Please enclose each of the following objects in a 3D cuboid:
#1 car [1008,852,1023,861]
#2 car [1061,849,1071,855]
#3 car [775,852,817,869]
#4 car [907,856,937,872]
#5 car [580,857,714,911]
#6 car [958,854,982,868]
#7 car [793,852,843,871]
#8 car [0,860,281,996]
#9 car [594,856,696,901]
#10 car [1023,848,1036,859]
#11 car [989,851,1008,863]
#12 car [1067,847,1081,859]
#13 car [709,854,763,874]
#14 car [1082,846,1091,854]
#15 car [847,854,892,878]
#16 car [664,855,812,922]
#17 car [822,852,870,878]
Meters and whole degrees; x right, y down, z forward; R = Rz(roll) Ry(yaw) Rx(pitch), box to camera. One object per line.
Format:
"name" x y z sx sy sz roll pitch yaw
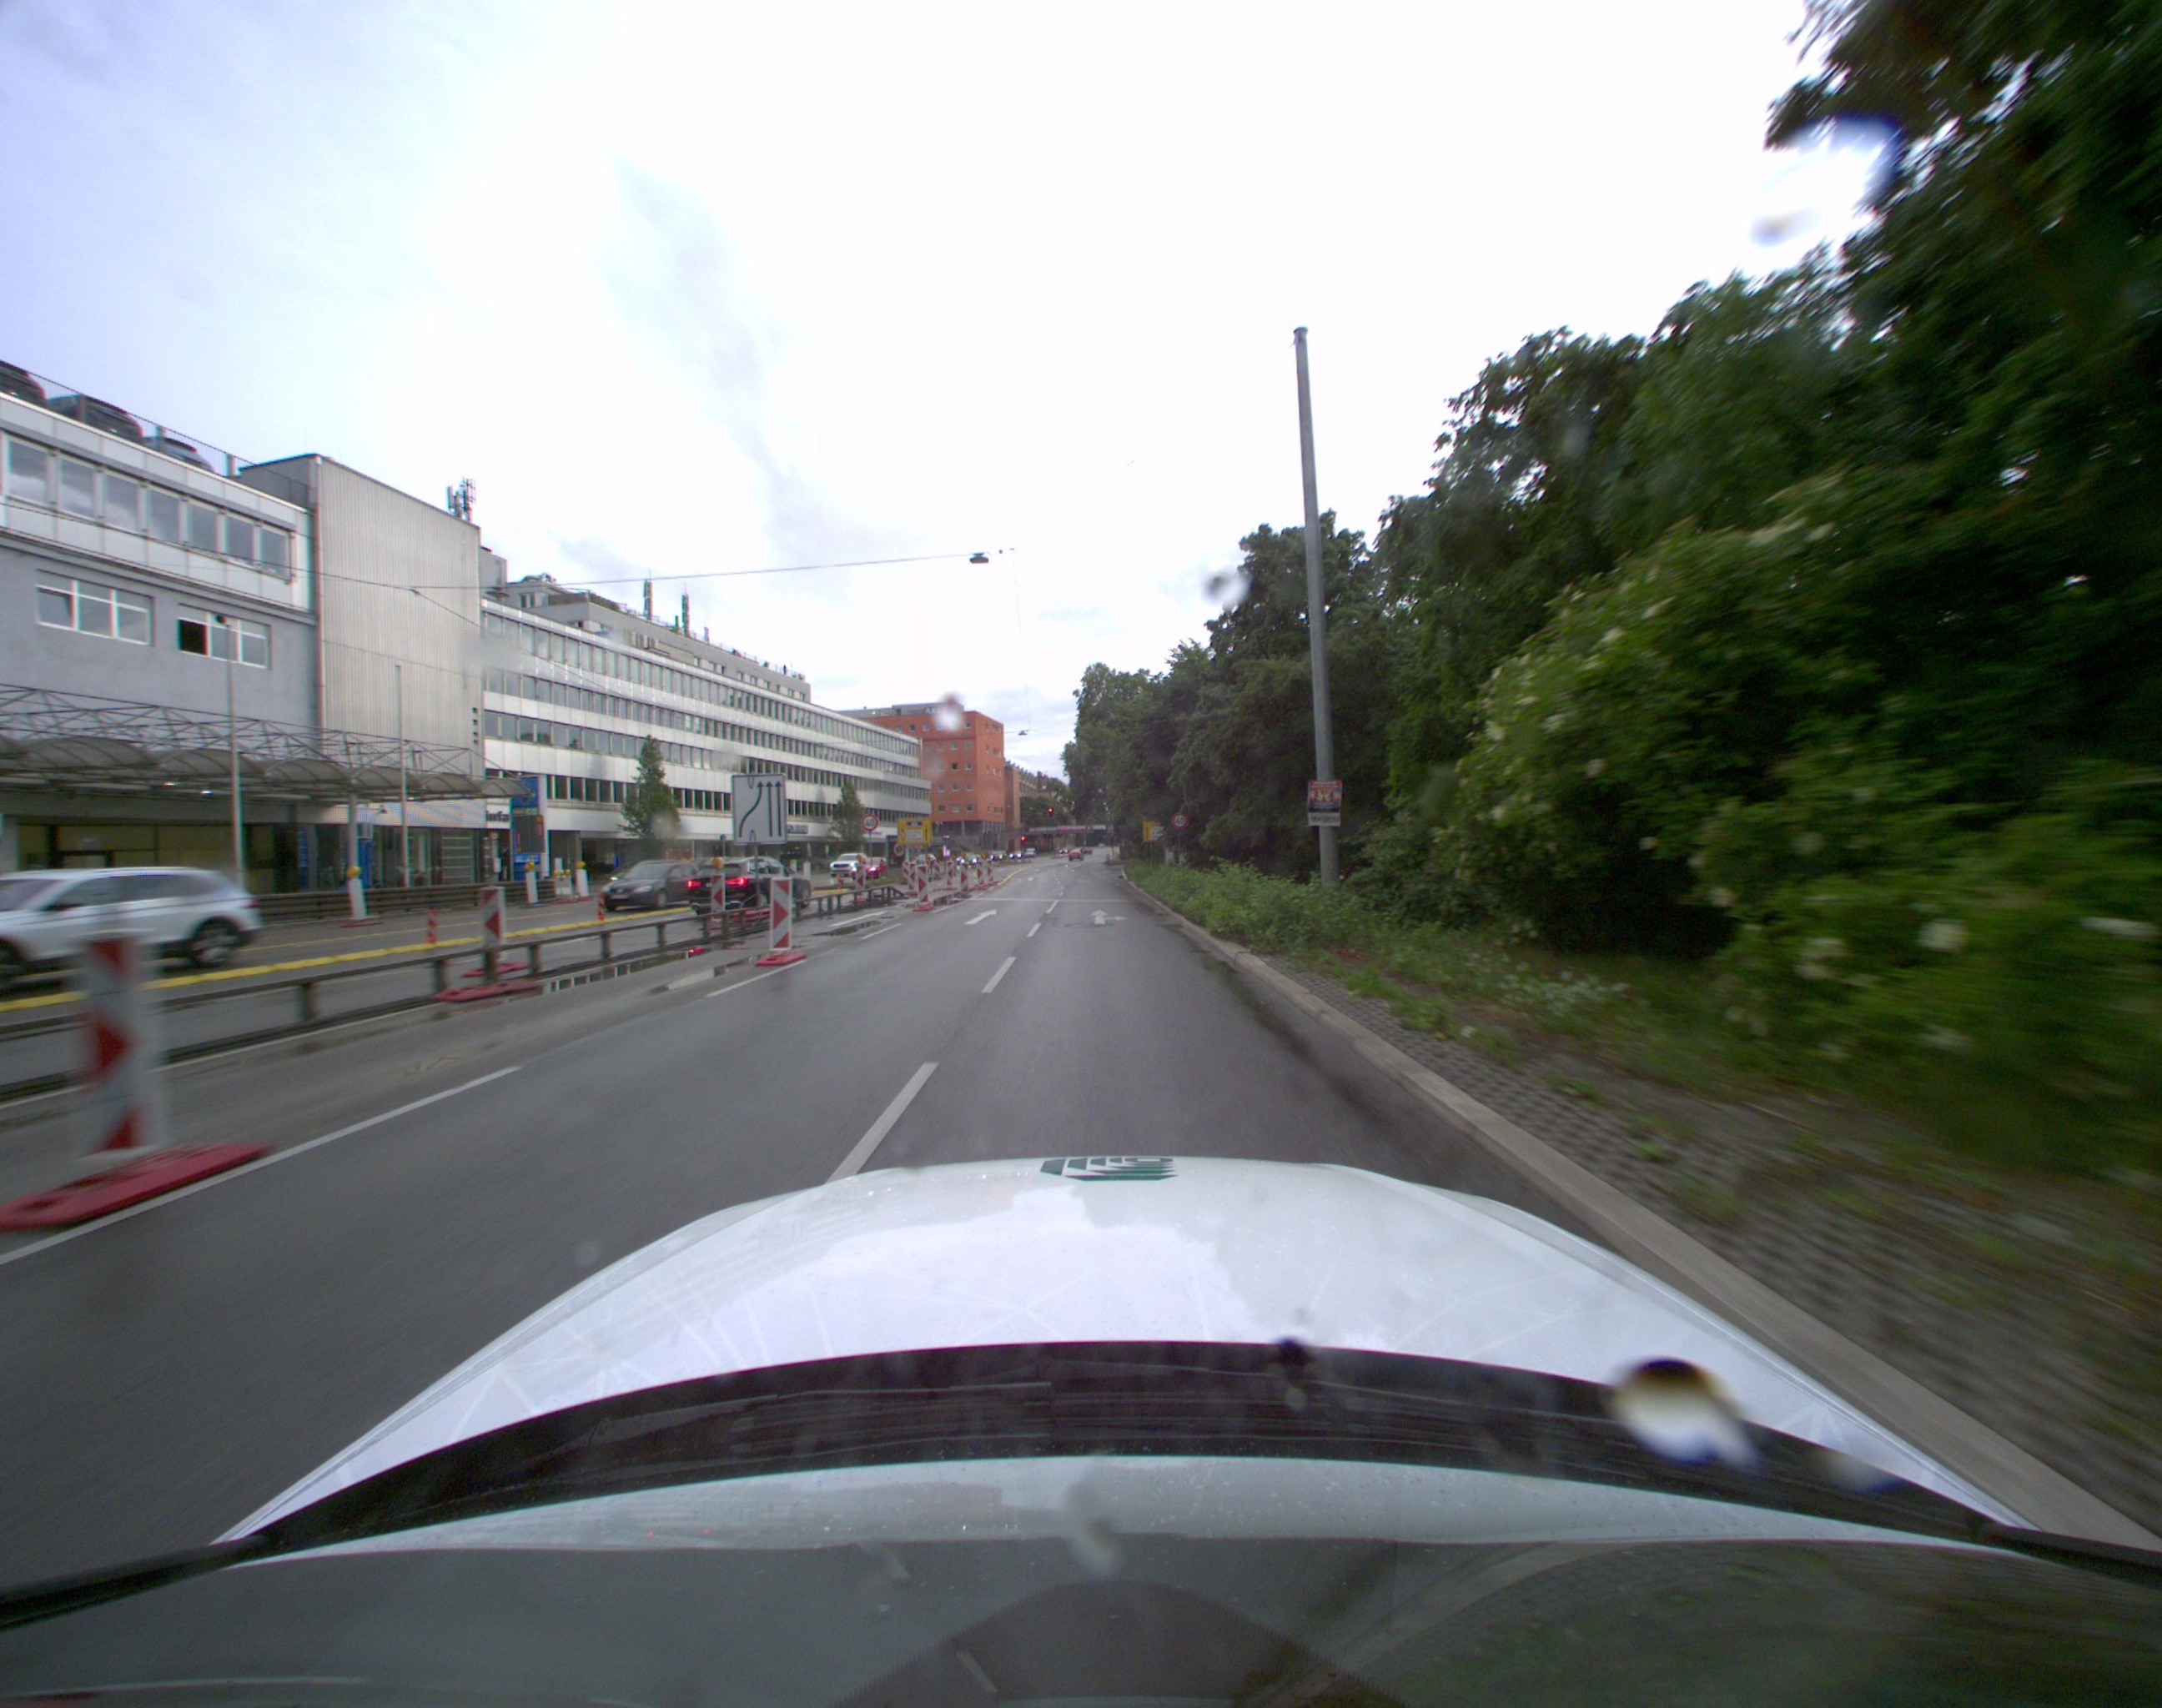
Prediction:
"car" -10.966 0.395 137.201 1.821 1.502 4.379 -2 0 4
"car" -3.630 -0.553 200.036 1.985 1.519 4.004 -1 0 4
"car" -30.749 0.720 87.859 4.007 1.574 1.983 -3 0 -26
"car" -15.867 0.964 81.464 1.742 1.513 4.008 -2 0 7
"car" -14.007 0.900 26.617 1.952 1.521 4.301 -2 1 1
"car" -11.987 0.748 88.342 1.681 1.354 4.119 -2 0 4
"car" -30.057 0.848 93.093 5.014 1.897 1.976 -3 0 -40
"car" -14.922 1.011 11.842 1.931 1.689 4.581 -2 0 1
"car" -17.118 0.898 32.190 1.704 1.536 4.078 -2 0 1
"car" -9.467 -0.088 150.430 1.726 1.786 4.307 -2 0 4
"car" -12.446 0.391 123.044 1.835 1.737 4.614 -2 0 7
"car" -1.036 -0.130 124.089 2.113 1.734 4.199 1 1 1
"car" -32.315 0.955 76.284 4.402 1.651 1.835 -3 0 -33
"car" 1.196 -0.801 182.899 1.756 1.697 3.709 -2 0 3
"car" -13.587 0.739 52.644 1.729 1.404 4.289 -1 0 1
"car" -9.772 0.913 23.689 1.937 1.597 4.678 1 1 6
"car" -16.790 0.777 58.516 1.973 1.707 4.832 -2 0 1
